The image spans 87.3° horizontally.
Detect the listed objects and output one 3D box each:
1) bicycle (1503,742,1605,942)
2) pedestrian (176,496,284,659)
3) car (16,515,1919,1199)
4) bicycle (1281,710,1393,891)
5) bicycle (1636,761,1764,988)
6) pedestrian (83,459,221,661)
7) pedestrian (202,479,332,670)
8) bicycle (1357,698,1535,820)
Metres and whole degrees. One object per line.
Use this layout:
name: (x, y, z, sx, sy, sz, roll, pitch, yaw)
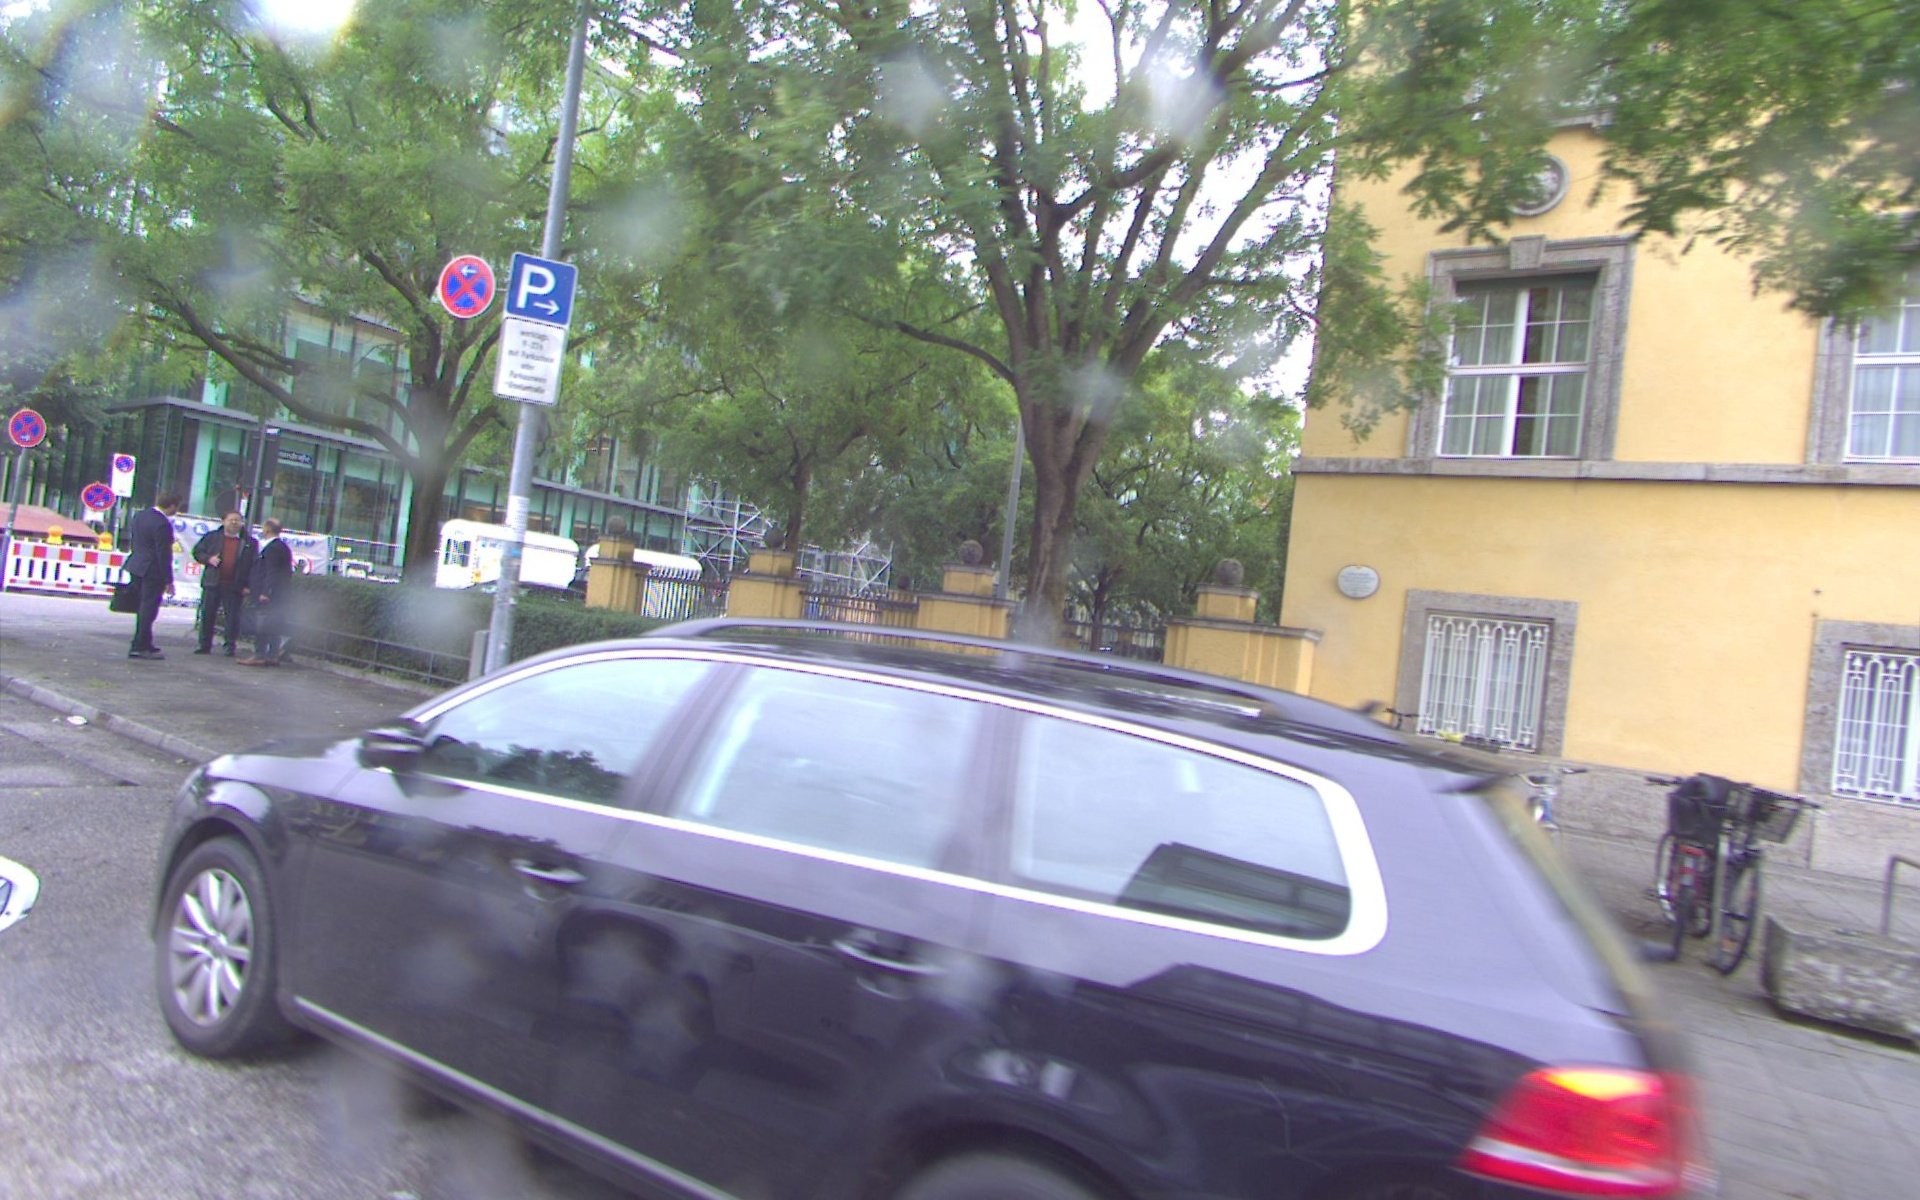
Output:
bicycle: (4.385, 1.684, 7.387, 0.463, 1.127, 1.934, 7, -1, 32)
pedestrian: (-9.305, -0.278, 12.871, 0.735, 1.931, 1.050, 7, 0, -23)
car: (-0.601, 0.807, 3.094, 4.888, 1.505, 1.778, 6, -4, 29)
bicycle: (3.012, 1.489, 7.922, 0.463, 1.127, 2.036, 7, -1, 28)
bicycle: (4.909, 1.738, 6.754, 0.463, 1.127, 1.933, 7, -1, 33)
pedestrian: (-9.230, -0.454, 11.496, 1.038, 2.160, 0.743, 6, 0, 30)
pedestrian: (-8.350, -0.306, 12.129, 1.038, 2.160, 0.743, 6, 0, 30)
bicycle: (6.092, 1.957, 12.667, 1.870, 1.168, 0.543, 7, 0, 30)
